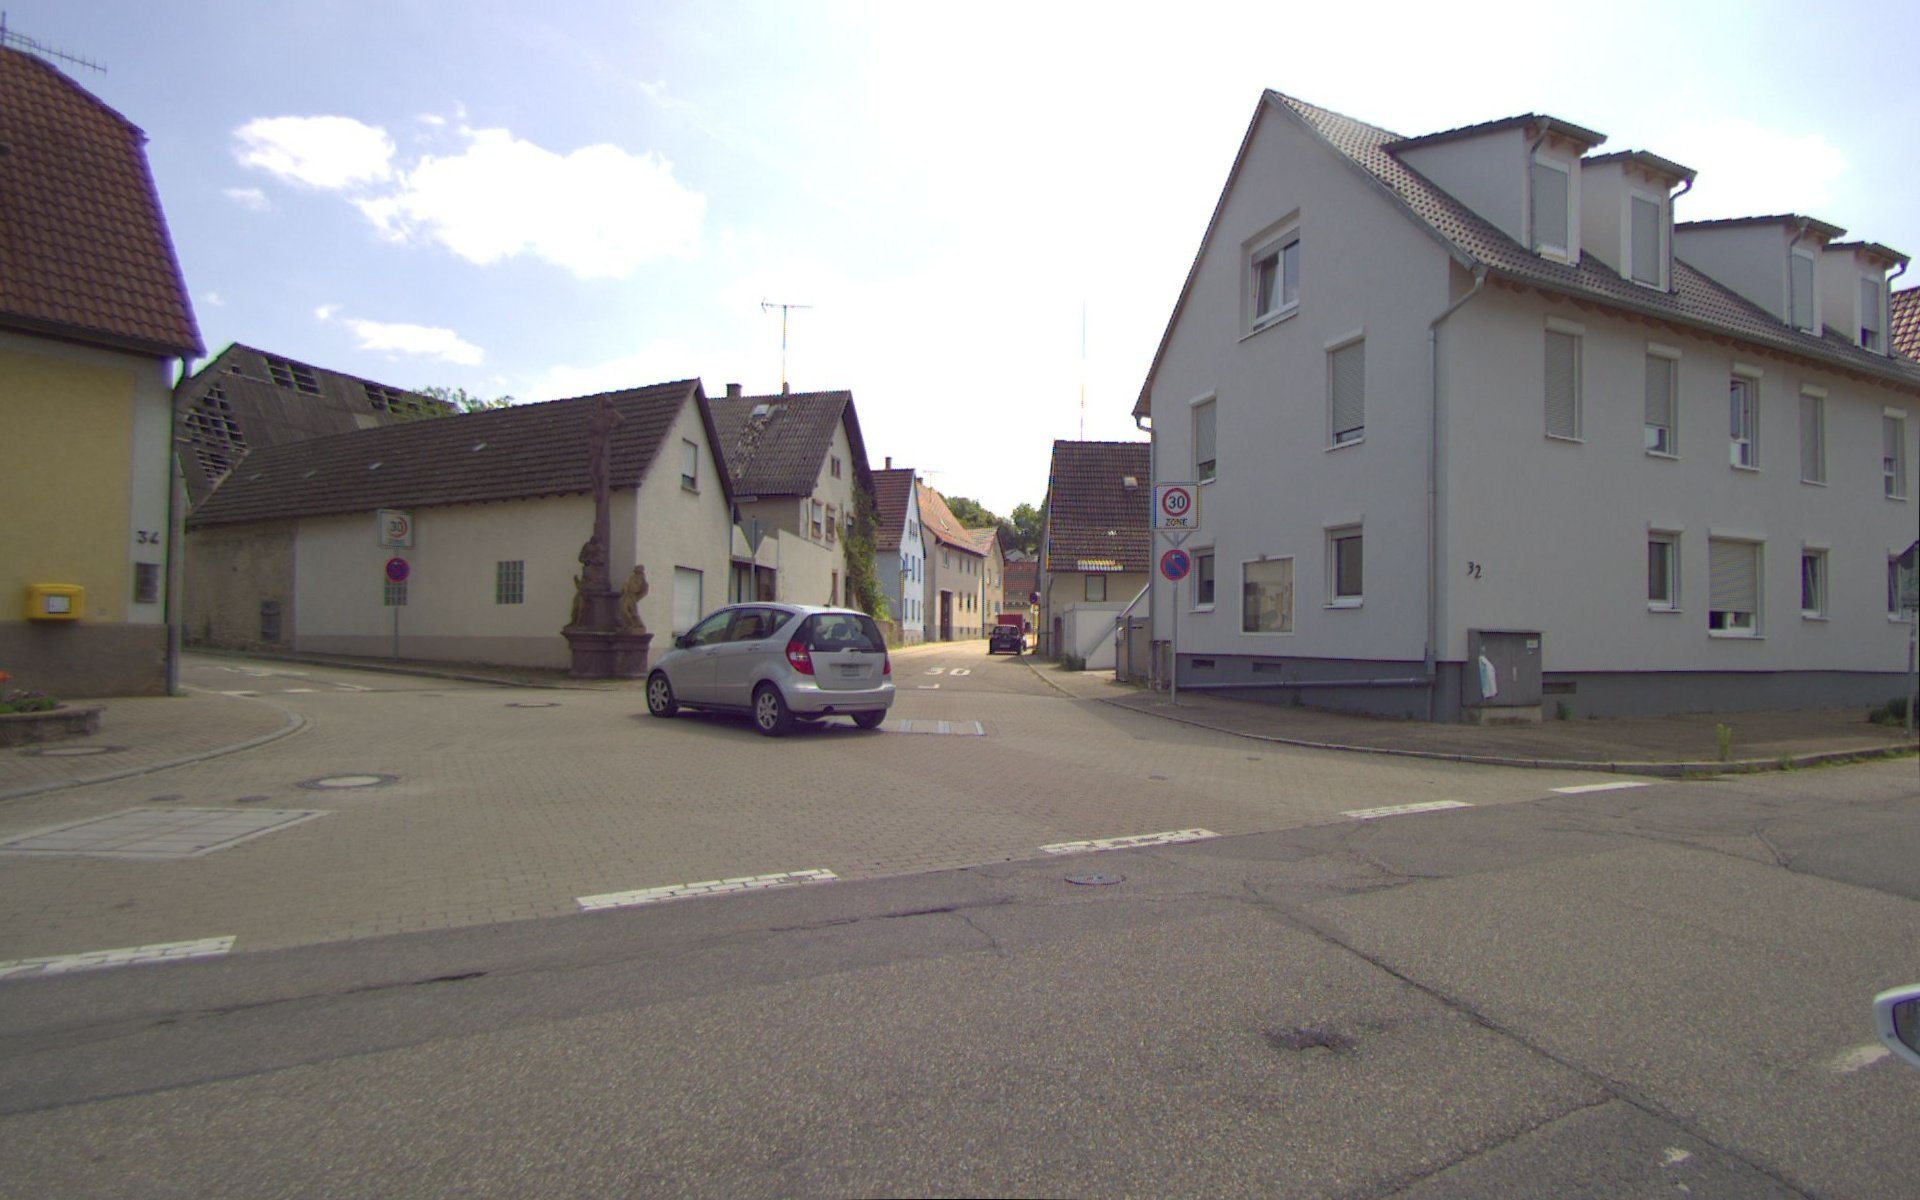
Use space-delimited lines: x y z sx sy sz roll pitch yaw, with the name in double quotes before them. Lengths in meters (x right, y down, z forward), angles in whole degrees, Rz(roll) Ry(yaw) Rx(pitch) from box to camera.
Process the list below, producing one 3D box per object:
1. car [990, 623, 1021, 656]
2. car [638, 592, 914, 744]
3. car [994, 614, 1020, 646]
"car" 2.327 2.023 51.207 1.461 1.550 3.478 2 -2 4
"car" -2.533 0.789 13.354 3.678 1.665 1.805 2 0 45
"car" 2.671 1.713 56.786 1.369 1.656 3.478 2 -2 4
